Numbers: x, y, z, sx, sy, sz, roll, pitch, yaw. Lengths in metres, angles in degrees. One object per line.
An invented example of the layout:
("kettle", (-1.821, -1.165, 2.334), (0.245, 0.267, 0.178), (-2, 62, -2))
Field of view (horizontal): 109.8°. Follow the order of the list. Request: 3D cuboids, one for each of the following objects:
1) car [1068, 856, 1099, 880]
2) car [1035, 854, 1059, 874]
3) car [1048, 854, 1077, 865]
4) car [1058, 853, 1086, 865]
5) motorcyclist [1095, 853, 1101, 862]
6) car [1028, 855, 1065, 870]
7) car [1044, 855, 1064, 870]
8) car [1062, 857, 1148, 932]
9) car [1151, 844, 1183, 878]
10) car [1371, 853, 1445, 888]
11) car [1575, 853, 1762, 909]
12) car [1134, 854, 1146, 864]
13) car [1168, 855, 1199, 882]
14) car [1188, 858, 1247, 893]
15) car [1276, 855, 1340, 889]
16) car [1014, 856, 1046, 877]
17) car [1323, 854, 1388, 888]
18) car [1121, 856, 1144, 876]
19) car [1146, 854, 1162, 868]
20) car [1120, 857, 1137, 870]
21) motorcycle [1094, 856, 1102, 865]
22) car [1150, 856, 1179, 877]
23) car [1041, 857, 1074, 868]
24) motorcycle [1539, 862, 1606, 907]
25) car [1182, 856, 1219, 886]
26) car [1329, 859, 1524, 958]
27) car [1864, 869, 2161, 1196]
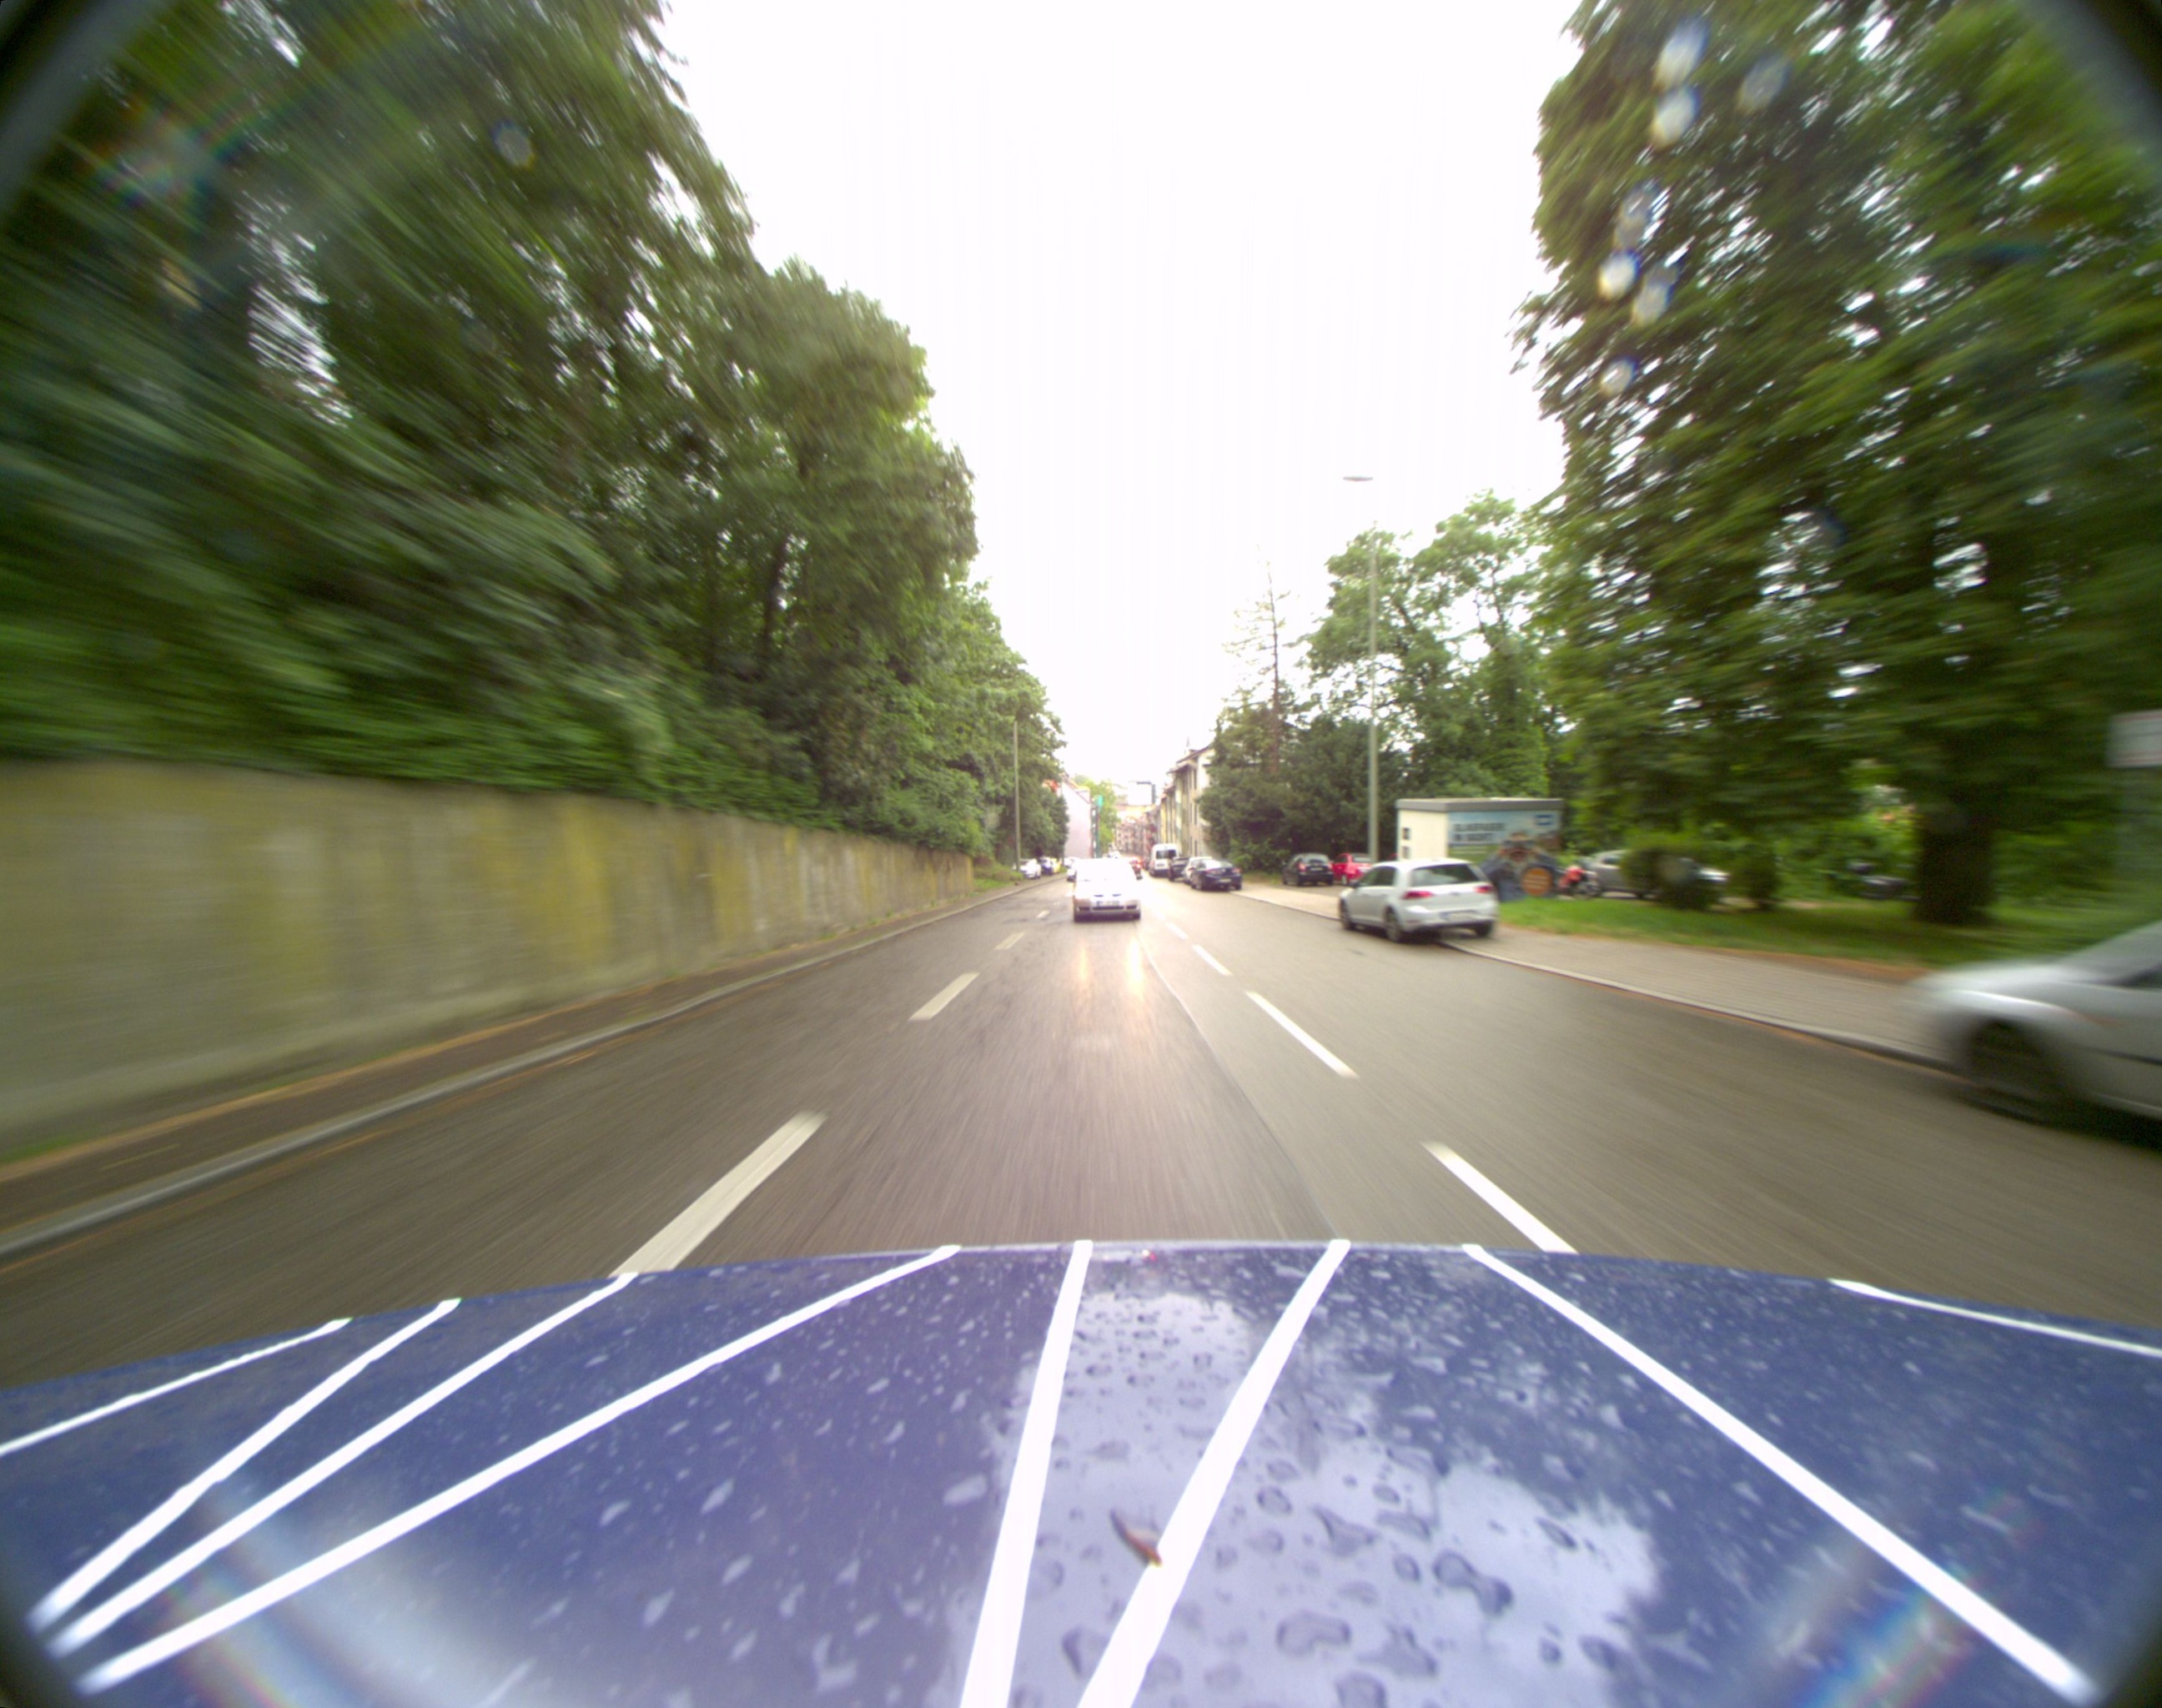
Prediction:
("car", (0.215, 0.967, 54.130), (1.998, 1.603, 3.967), (-1, 0, 2))
("car", (-2.983, 0.874, 67.566), (1.769, 1.614, 4.679), (-1, 1, 2))
("car", (-2.713, 0.825, 113.020), (4.192, 1.565, 1.804), (2, 0, 3))
("car", (-1.373, 0.783, 120.259), (4.192, 1.635, 1.803), (2, 1, 3))
("motorcyclist", (2.244, 0.480, 101.257), (0.778, 1.120, 0.549), (-3, 1, 5))
("car", (-4.086, 1.039, 90.591), (4.192, 1.584, 1.804), (-2, 0, 3))
("car", (-2.671, 0.820, 75.265), (1.567, 1.458, 3.899), (1, 0, 4))
("car", (0.720, 0.930, 19.294), (1.825, 1.603, 4.190), (-2, 0, 6))
("car", (6.707, 0.514, 59.519), (2.122, 2.536, 5.445), (1, 0, 3))
("car", (14.709, 0.703, 34.448), (1.599, 1.450, 4.242), (-1, 0, 1))
("car", (16.841, 0.710, 22.121), (1.950, 1.450, 4.395), (-1, 0, -2))
("car", (10.105, 0.788, 130.758), (1.908, 1.646, 4.329), (0, 0, 3))
("car", (6.435, 0.903, 48.057), (1.648, 1.595, 4.187), (1, 0, 4))
("car", (6.295, 0.948, 35.483), (1.864, 1.484, 4.755), (2, 0, 0))
("car", (10.411, 0.793, 35.189), (1.727, 1.450, 4.397), (-1, 0, 1))
("car", (-3.757, 0.882, 56.890), (1.742, 1.469, 4.741), (1, 0, 4))
("car", (12.494, 0.745, 34.785), (1.625, 1.450, 3.775), (-1, 0, 1))
("car", (3.985, 0.911, 59.408), (1.765, 1.482, 4.001), (0, 0, 3))
("car", (8.587, 0.842, 89.363), (1.696, 1.584, 4.001), (0, 0, 2))
("car", (5.325, 1.067, 85.602), (1.729, 1.427, 3.912), (1, 0, 0))
("motorcycle", (2.245, 0.833, 101.149), (0.778, 1.120, 2.300), (-3, 0, 5))
("car", (7.083, 1.048, 64.846), (1.970, 1.729, 4.885), (1, 0, 1))
("car", (-3.004, 1.096, 98.471), (4.192, 1.408, 1.804), (1, 0, 3))
("motorcycle", (14.193, 0.851, 22.026), (0.601, 1.181, 2.278), (-1, 0, 4))
("car", (6.575, 0.924, 42.137), (1.659, 1.560, 4.149), (0, 0, 4))
("car", (6.460, 0.924, 14.800), (1.891, 1.602, 4.239), (1, 0, 1))
("car", (6.120, 0.889, 3.118), (1.630, 1.490, 3.927), (-4, 0, -2))
